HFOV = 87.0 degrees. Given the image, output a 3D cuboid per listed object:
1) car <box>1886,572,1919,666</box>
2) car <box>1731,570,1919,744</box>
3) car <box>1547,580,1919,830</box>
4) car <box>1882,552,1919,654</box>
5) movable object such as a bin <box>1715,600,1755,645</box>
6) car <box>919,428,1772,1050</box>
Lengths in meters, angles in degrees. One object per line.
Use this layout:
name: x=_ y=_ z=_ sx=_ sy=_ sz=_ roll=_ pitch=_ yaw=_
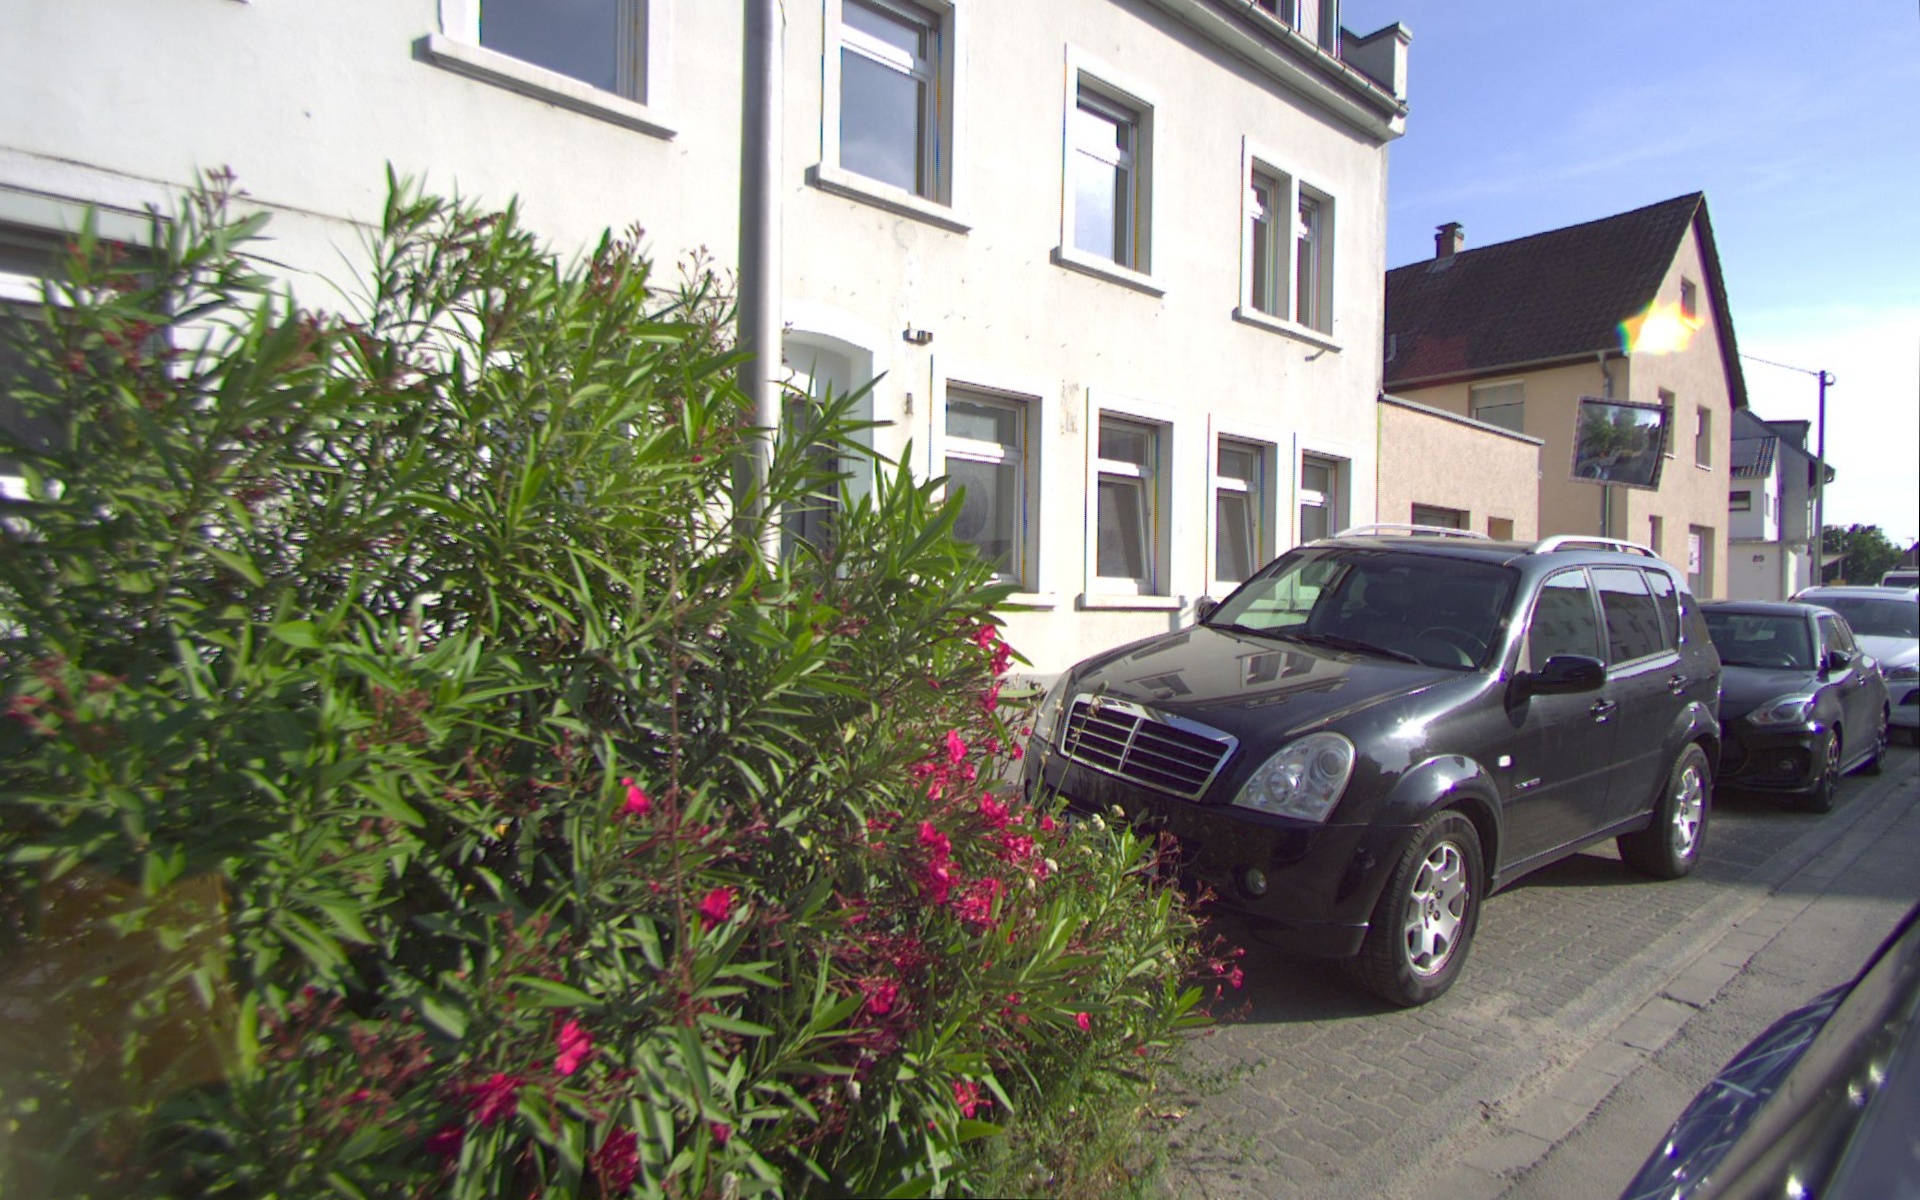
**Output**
car: x=20.255 y=0.402 z=20.462 sx=4.406 sy=1.762 sz=1.781 roll=0 pitch=3 yaw=-42
car: x=10.836 y=0.553 z=11.989 sx=4.398 sy=1.704 sz=1.816 roll=0 pitch=2 yaw=-41
car: x=6.662 y=0.635 z=8.482 sx=4.533 sy=1.547 sz=1.592 roll=0 pitch=2 yaw=-41
car: x=24.445 y=0.112 z=24.886 sx=4.913 sy=2.356 sz=2.177 roll=1 pitch=2 yaw=-43
movable object such as a bin: x=19.563 y=0.567 z=25.555 sx=0.544 sy=1.107 sz=0.729 roll=0 pitch=0 yaw=-42
car: x=2.248 y=0.407 z=5.279 sx=4.525 sy=1.879 sz=2.081 roll=1 pitch=1 yaw=-38
